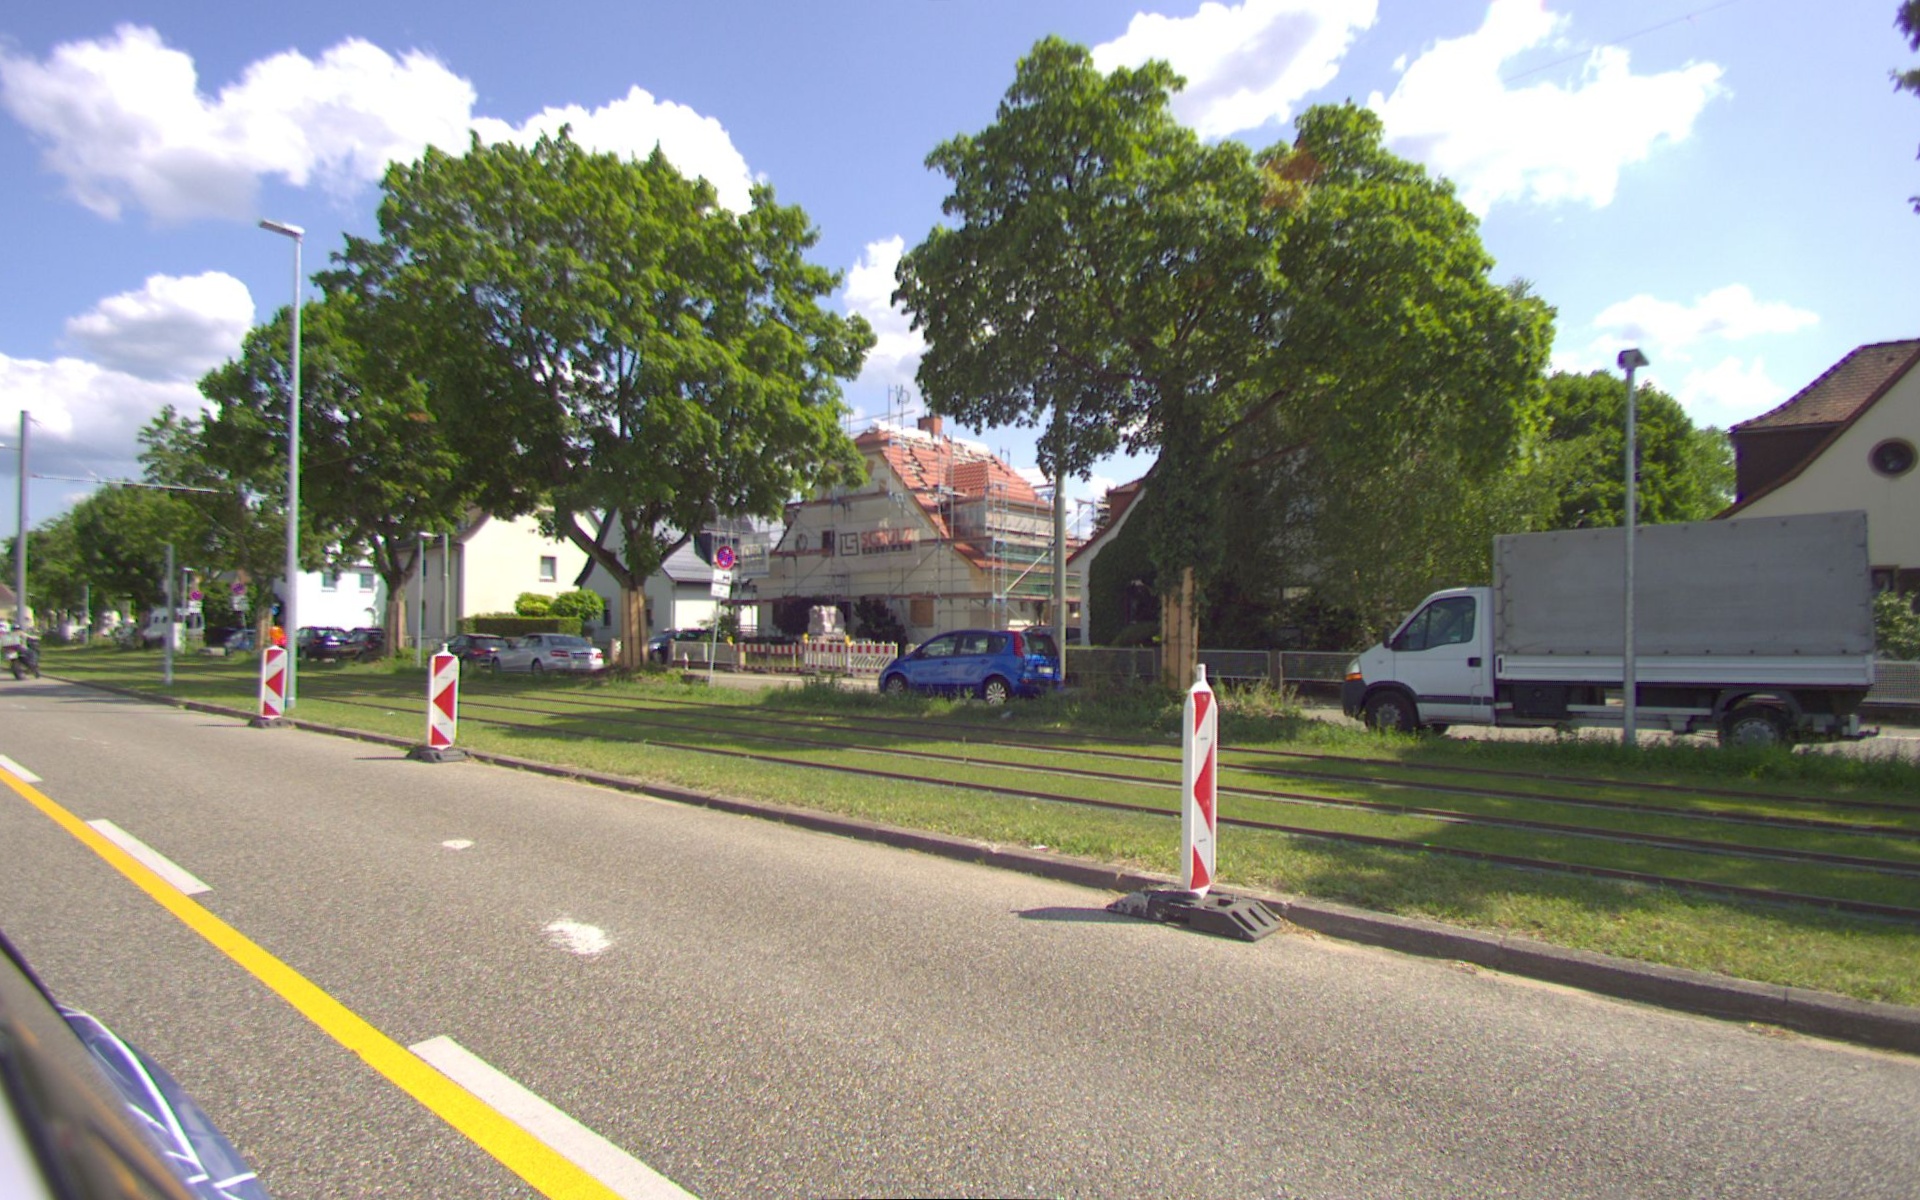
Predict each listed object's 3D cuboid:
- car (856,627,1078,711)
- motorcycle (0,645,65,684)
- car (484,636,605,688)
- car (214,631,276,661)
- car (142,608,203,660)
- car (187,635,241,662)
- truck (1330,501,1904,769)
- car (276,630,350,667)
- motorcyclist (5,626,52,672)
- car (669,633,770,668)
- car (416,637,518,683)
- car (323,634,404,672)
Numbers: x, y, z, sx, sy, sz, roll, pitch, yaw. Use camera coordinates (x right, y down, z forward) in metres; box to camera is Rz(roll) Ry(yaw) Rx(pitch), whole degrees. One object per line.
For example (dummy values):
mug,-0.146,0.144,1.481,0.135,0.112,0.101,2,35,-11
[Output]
car,0.050,1.353,20.264,4.403,1.497,1.680,-3,-3,41
motorcycle,-26.858,1.825,29.117,0.648,1.054,2.115,0,-2,-10
car,-13.127,1.935,31.859,4.520,1.497,1.765,-4,-3,42
car,-37.497,2.432,53.047,4.403,1.497,1.680,-3,-3,41
car,-49.520,2.166,63.604,5.080,3.061,2.108,-3,-3,41
car,-44.480,2.880,60.327,4.403,1.497,1.680,-3,-3,41
truck,8.297,0.456,13.401,5.971,2.802,2.242,-2,-3,41
car,-29.497,2.228,46.072,4.403,1.584,1.680,-3,-3,41
motorcyclist,-26.870,1.411,29.216,0.648,1.301,0.781,0,-2,-10
car,-10.929,2.296,46.209,1.702,1.497,4.345,-3,-3,41
car,-17.523,2.122,35.891,4.403,1.497,1.680,-3,-3,41
car,-25.183,2.256,42.649,4.403,1.497,1.680,-3,-3,41
